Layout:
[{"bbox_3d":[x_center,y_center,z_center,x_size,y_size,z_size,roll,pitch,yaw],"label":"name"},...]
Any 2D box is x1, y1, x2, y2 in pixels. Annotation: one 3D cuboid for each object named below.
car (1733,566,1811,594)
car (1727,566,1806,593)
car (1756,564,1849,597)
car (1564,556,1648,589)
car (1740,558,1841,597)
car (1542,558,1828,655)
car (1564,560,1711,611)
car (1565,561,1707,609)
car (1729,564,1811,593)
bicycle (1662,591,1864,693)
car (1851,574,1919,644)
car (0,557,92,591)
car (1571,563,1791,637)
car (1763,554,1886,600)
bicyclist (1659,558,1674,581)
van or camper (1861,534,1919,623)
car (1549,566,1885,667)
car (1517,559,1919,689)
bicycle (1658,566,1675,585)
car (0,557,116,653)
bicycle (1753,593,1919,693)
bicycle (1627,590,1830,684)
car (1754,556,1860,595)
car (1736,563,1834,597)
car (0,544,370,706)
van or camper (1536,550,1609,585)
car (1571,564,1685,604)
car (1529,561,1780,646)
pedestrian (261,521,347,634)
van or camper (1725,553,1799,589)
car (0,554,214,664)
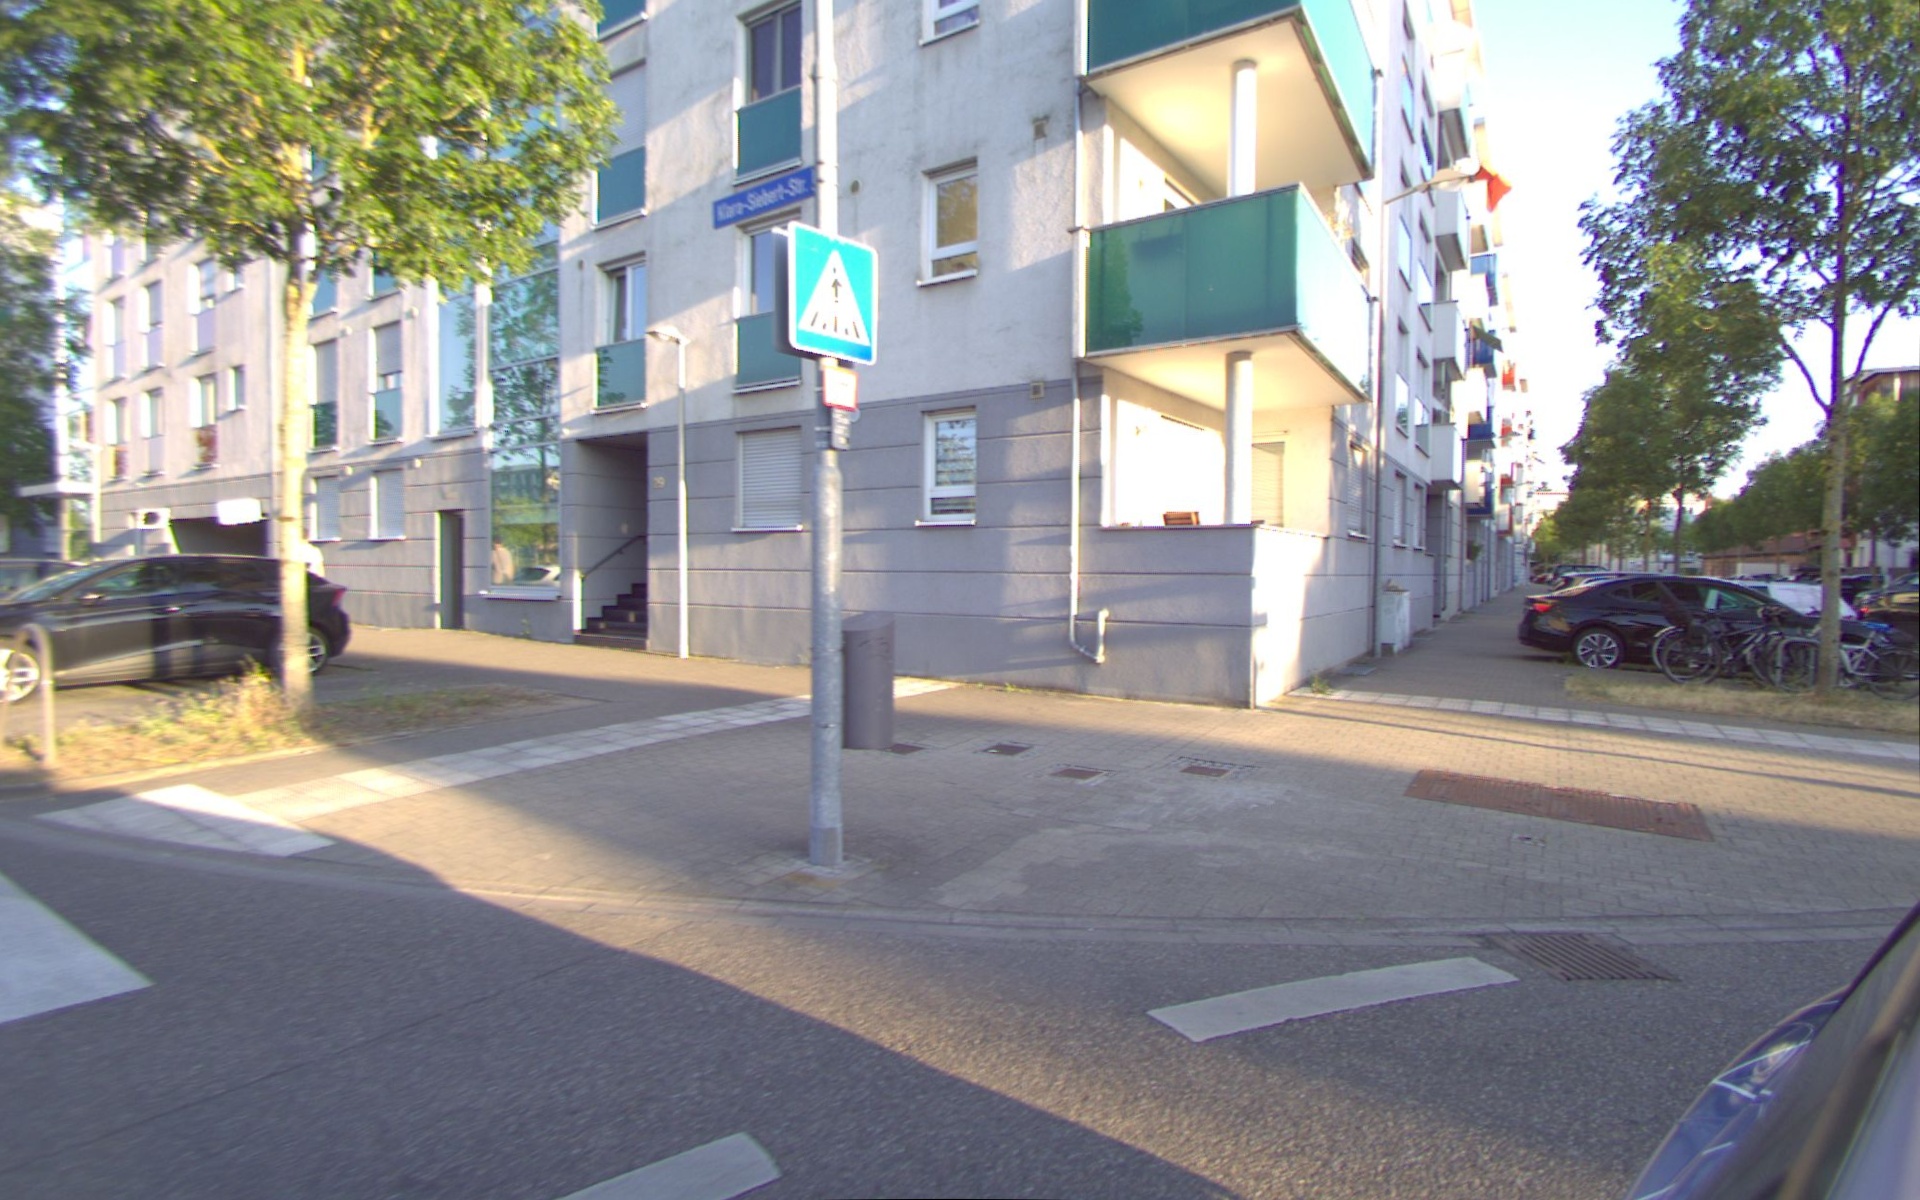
[{"bbox_3d":[60.238,-1.517,75.144,4.225,1.808,1.673,5,3,33],"label":"car"},{"bbox_3d":[58.127,-1.479,73.016,4.225,1.658,1.673,5,3,33],"label":"car"},{"bbox_3d":[53.771,-1.266,64.670,4.221,1.808,1.675,4,3,31],"label":"car"},{"bbox_3d":[39.908,-1.742,62.638,4.225,1.800,1.673,5,3,33],"label":"car"},{"bbox_3d":[48.483,-1.324,59.163,4.221,2.027,1.675,4,3,31],"label":"car"},{"bbox_3d":[13.790,0.048,19.613,4.263,1.512,1.724,5,3,31],"label":"car"},{"bbox_3d":[23.973,-0.552,35.978,4.067,1.527,1.651,4,3,27],"label":"car"},{"bbox_3d":[25.587,-0.608,38.486,4.215,1.527,1.736,4,3,27],"label":"car"},{"bbox_3d":[56.880,-1.513,71.129,4.225,1.808,1.673,5,3,33],"label":"car"},{"bbox_3d":[9.679,0.474,12.277,1.777,1.054,0.562,4,2,28],"label":"bicycle"},{"bbox_3d":[21.954,0.305,21.560,1.741,1.480,4.189,2,3,-11],"label":"car"},{"bbox_3d":[-40.983,-1.149,44.970,3.461,1.486,1.613,0,1,2],"label":"car"},{"bbox_3d":[18.042,-0.066,25.595,4.259,1.526,1.669,4,3,28],"label":"car"},{"bbox_3d":[42.110,-1.150,49.442,4.221,1.954,1.675,4,3,31],"label":"car"},{"bbox_3d":[50.145,-2.171,71.837,0.761,1.648,0.656,1,1,30],"label":"bicyclist"},{"bbox_3d":[35.953,-0.765,35.315,6.257,3.125,2.420,0,1,28],"label":"van or camper"},{"bbox_3d":[12.632,0.198,17.253,4.387,1.527,1.721,1,1,35],"label":"car"},{"bbox_3d":[11.169,0.249,15.053,4.858,1.475,1.915,5,4,34],"label":"car"},{"bbox_3d":[50.135,-1.747,71.822,0.765,1.283,1.763,1,1,29],"label":"bicycle"},{"bbox_3d":[-16.019,0.069,15.839,1.689,1.498,4.010,1,2,32],"label":"car"},{"bbox_3d":[10.892,0.513,12.324,1.823,1.085,0.469,4,2,28],"label":"bicycle"},{"bbox_3d":[10.093,0.461,13.382,2.017,1.059,0.469,4,2,28],"label":"bicycle"},{"bbox_3d":[47.736,-1.401,57.150,4.221,1.954,1.675,4,3,31],"label":"car"},{"bbox_3d":[49.708,-1.238,61.079,4.221,1.808,1.675,4,3,31],"label":"car"},{"bbox_3d":[-9.417,0.176,11.387,1.820,1.505,4.432,1,4,32],"label":"car"},{"bbox_3d":[43.058,-2.278,71.233,4.222,2.237,1.674,4,3,31],"label":"van or camper"},{"bbox_3d":[30.630,-0.763,46.568,4.225,1.555,1.673,5,3,33],"label":"car"},{"bbox_3d":[14.941,-0.001,21.912,4.279,1.475,1.717,5,4,40],"label":"car"},{"bbox_3d":[-11.576,-0.394,17.862,1.043,1.918,0.968,1,1,34],"label":"pedestrian"},{"bbox_3d":[62.792,-2.315,79.290,4.224,2.565,1.741,5,3,32],"label":"van or camper"},{"bbox_3d":[-13.502,0.096,14.678,1.689,1.498,4.010,1,2,32],"label":"car"}]
